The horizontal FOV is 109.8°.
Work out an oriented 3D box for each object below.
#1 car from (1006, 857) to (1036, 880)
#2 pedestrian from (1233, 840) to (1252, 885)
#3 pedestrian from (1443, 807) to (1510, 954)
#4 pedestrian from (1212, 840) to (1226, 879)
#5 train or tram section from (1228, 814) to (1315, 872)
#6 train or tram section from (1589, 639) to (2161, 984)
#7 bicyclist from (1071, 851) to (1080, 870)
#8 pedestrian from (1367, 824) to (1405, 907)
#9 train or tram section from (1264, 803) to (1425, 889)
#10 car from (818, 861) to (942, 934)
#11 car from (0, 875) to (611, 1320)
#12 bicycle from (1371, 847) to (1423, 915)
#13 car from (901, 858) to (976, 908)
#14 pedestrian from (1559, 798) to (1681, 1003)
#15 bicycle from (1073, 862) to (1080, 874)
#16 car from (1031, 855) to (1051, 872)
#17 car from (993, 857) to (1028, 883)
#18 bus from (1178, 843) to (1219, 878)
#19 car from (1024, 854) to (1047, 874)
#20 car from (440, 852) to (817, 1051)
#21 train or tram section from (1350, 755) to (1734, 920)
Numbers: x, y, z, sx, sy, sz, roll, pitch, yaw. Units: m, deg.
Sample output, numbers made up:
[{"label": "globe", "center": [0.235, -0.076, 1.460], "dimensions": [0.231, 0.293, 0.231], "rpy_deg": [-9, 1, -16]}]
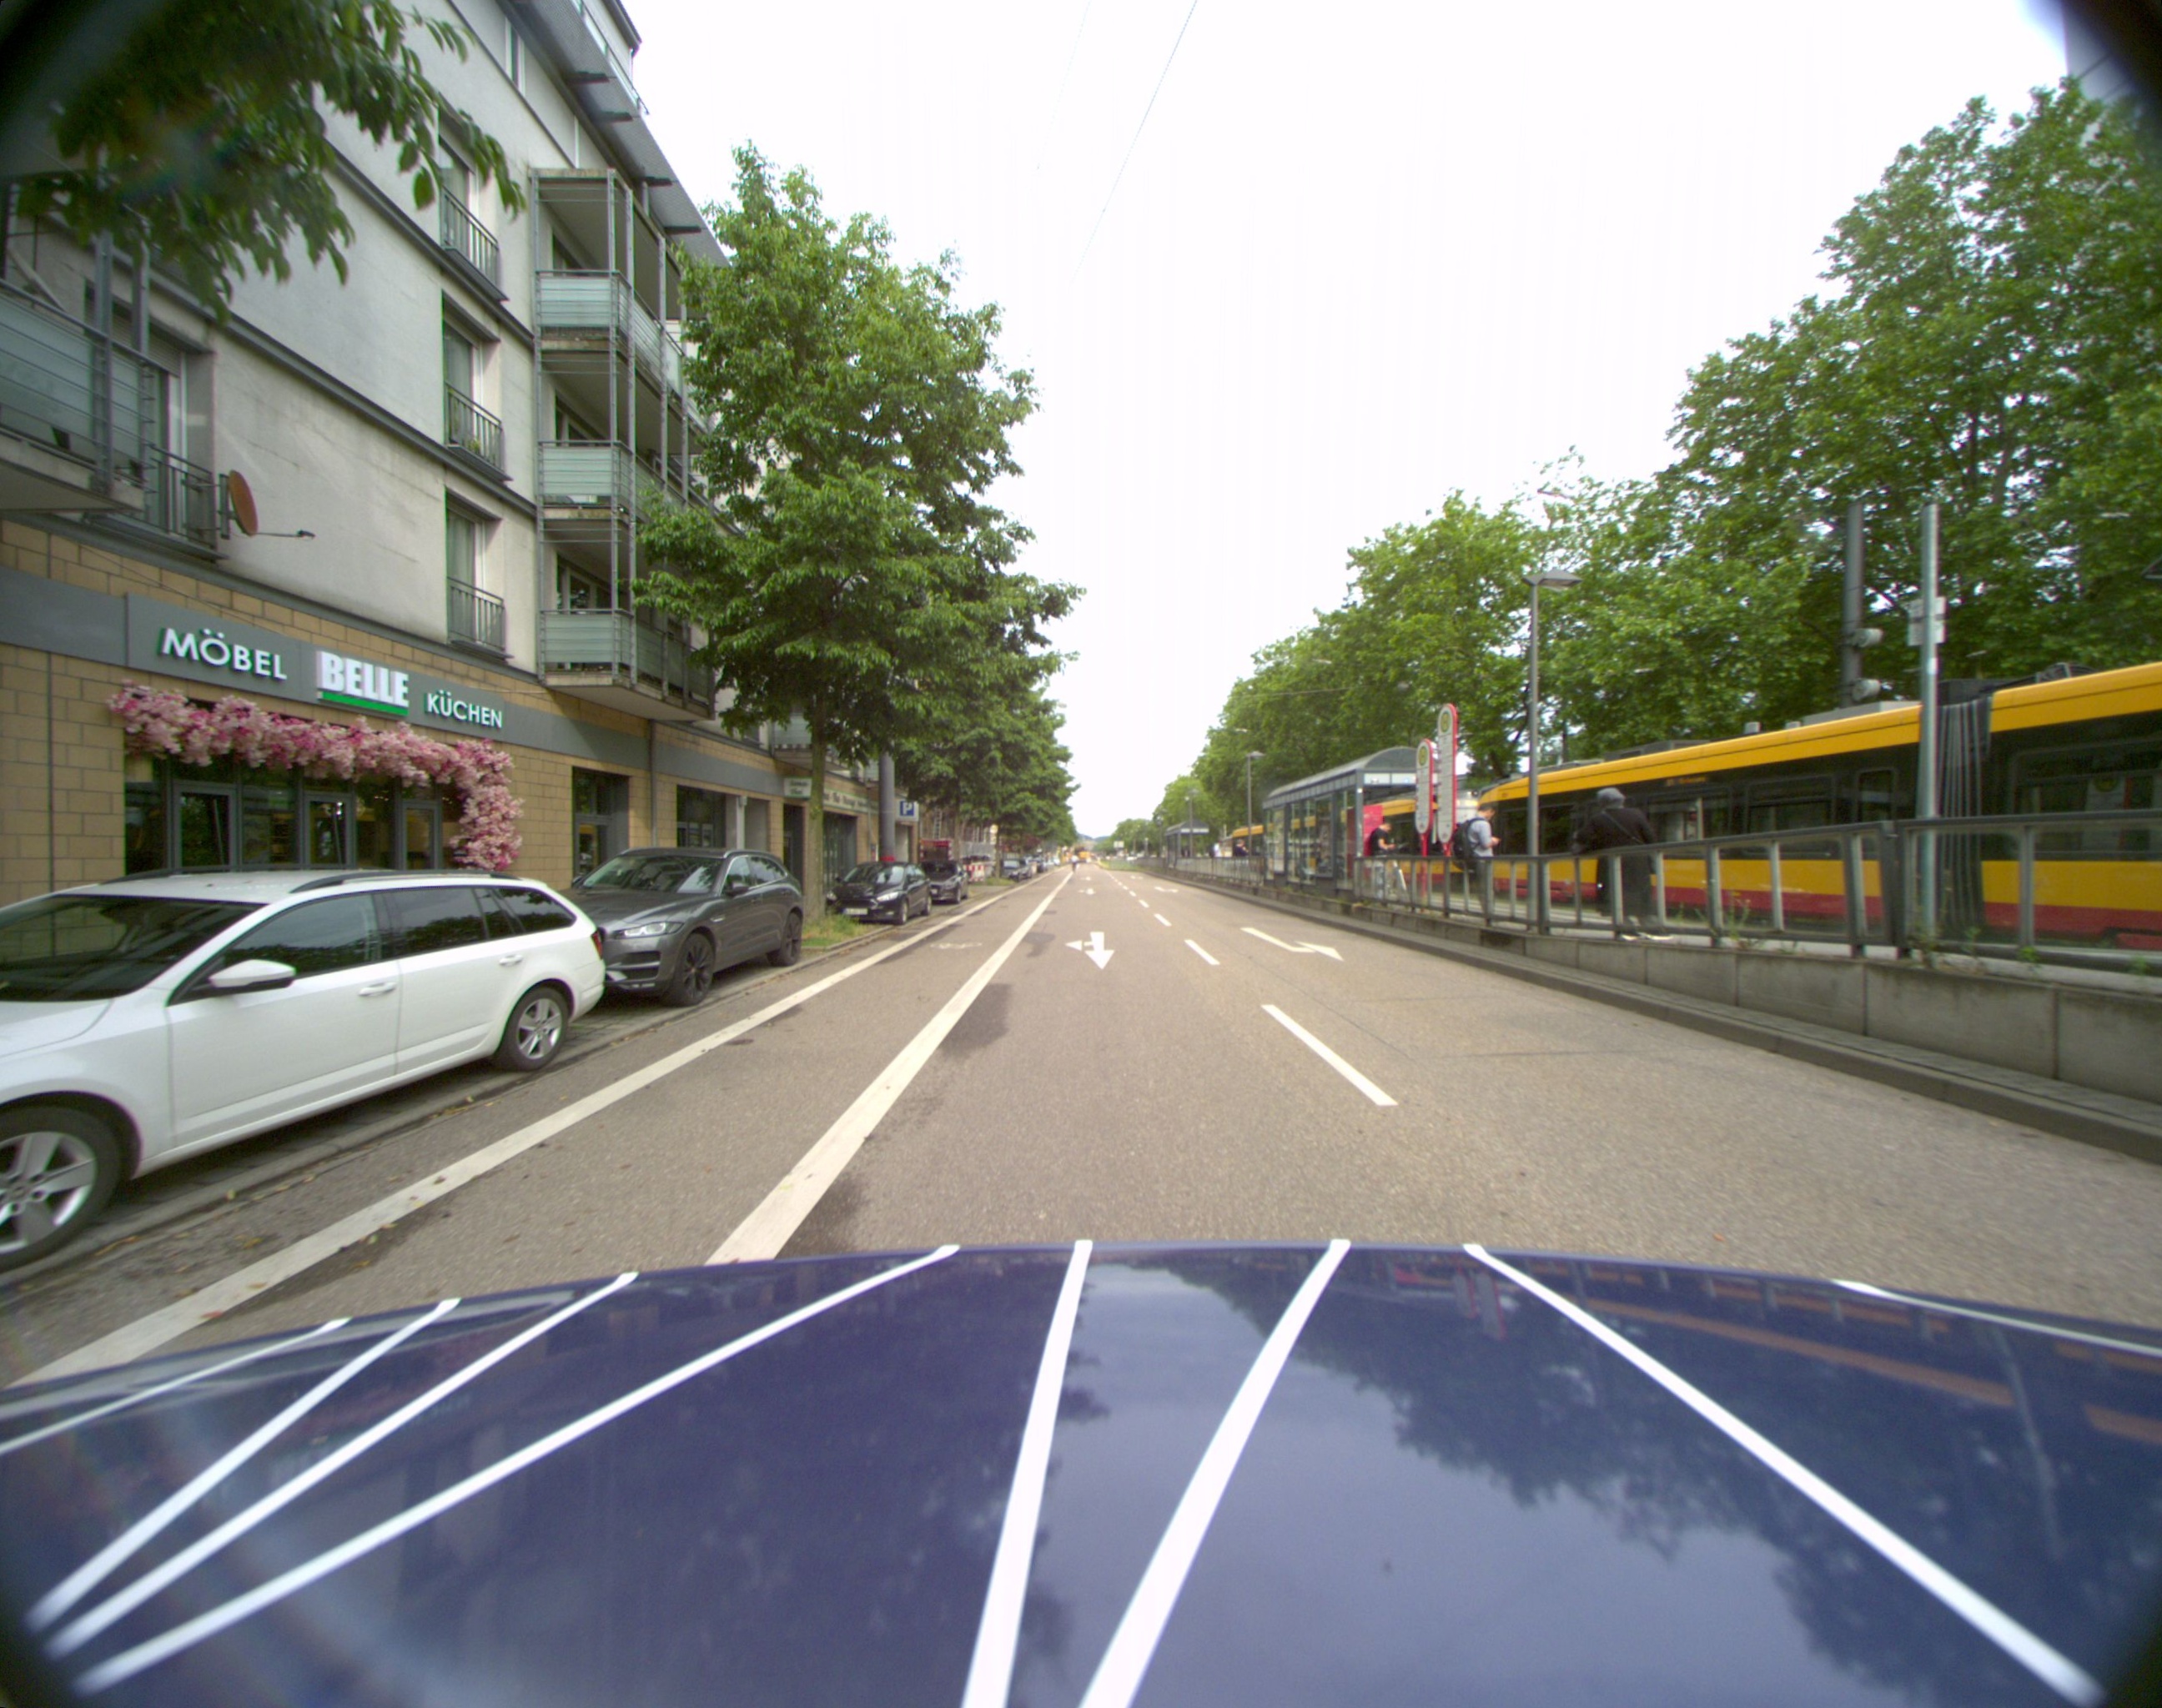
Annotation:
[{"label": "car", "center": [-4.193, 1.004, 53.668], "dimensions": [1.755, 1.452, 4.279], "rpy_deg": [1, 0, 0]}, {"label": "pedestrian", "center": [5.910, 0.309, 27.779], "dimensions": [0.513, 1.623, 0.730], "rpy_deg": [-2, 1, 2]}, {"label": "pedestrian", "center": [5.609, 0.365, 10.811], "dimensions": [0.753, 2.002, 0.819], "rpy_deg": [-1, 1, 24]}, {"label": "pedestrian", "center": [5.876, 0.242, 32.403], "dimensions": [0.480, 1.623, 0.392], "rpy_deg": [-2, 1, 2]}, {"label": "train or tram section", "center": [13.166, -0.742, 53.889], "dimensions": [3.100, 3.541, 12.538], "rpy_deg": [-2, 0, 1]}, {"label": "train or tram section", "center": [12.544, -0.477, 8.897], "dimensions": [3.067, 3.511, 15.294], "rpy_deg": [-2, 0, 1]}, {"label": "bicyclist", "center": [-0.500, 0.644, 72.933], "dimensions": [0.751, 1.777, 0.838], "rpy_deg": [-2, 1, 1]}, {"label": "pedestrian", "center": [6.143, 0.223, 15.315], "dimensions": [0.532, 1.623, 0.471], "rpy_deg": [-2, 1, -2]}, {"label": "train or tram section", "center": [12.951, -0.366, 39.735], "dimensions": [3.067, 3.511, 15.771], "rpy_deg": [-2, 0, 1]}, {"label": "car", "center": [-4.717, 0.951, 18.472], "dimensions": [1.680, 1.433, 4.408], "rpy_deg": [2, 0, 2]}, {"label": "car", "center": [-4.813, 0.960, 4.102], "dimensions": [1.680, 1.490, 4.390], "rpy_deg": [2, 0, 2]}, {"label": "bicycle", "center": [5.935, 0.483, 14.317], "dimensions": [0.420, 1.215, 1.289], "rpy_deg": [-2, 1, 0]}, {"label": "car", "center": [-4.781, 0.919, 26.105], "dimensions": [1.802, 1.447, 4.388], "rpy_deg": [2, 0, -1]}, {"label": "pedestrian", "center": [5.649, 0.449, 7.966], "dimensions": [0.756, 2.002, 0.816], "rpy_deg": [-2, 1, -36]}, {"label": "bicycle", "center": [-0.425, 1.334, 72.564], "dimensions": [0.613, 1.116, 2.050], "rpy_deg": [-2, 0, 1]}, {"label": "car", "center": [-4.123, 0.936, 79.223], "dimensions": [1.837, 1.685, 3.762], "rpy_deg": [1, 0, 0]}, {"label": "car", "center": [-4.395, 0.955, 47.621], "dimensions": [1.755, 1.452, 4.279], "rpy_deg": [1, 0, 0]}, {"label": "bus", "center": [7.296, 0.373, 47.532], "dimensions": [1.998, 2.002, 4.000], "rpy_deg": [-2, 0, 1]}, {"label": "car", "center": [-4.132, 0.860, 69.930], "dimensions": [1.837, 1.720, 4.279], "rpy_deg": [1, 0, 0]}, {"label": "car", "center": [-4.842, 0.865, 9.116], "dimensions": [1.716, 1.707, 4.711], "rpy_deg": [2, 0, -1]}, {"label": "train or tram section", "center": [12.756, -0.407, 24.210], "dimensions": [3.067, 3.511, 15.294], "rpy_deg": [-2, 0, 1]}]
